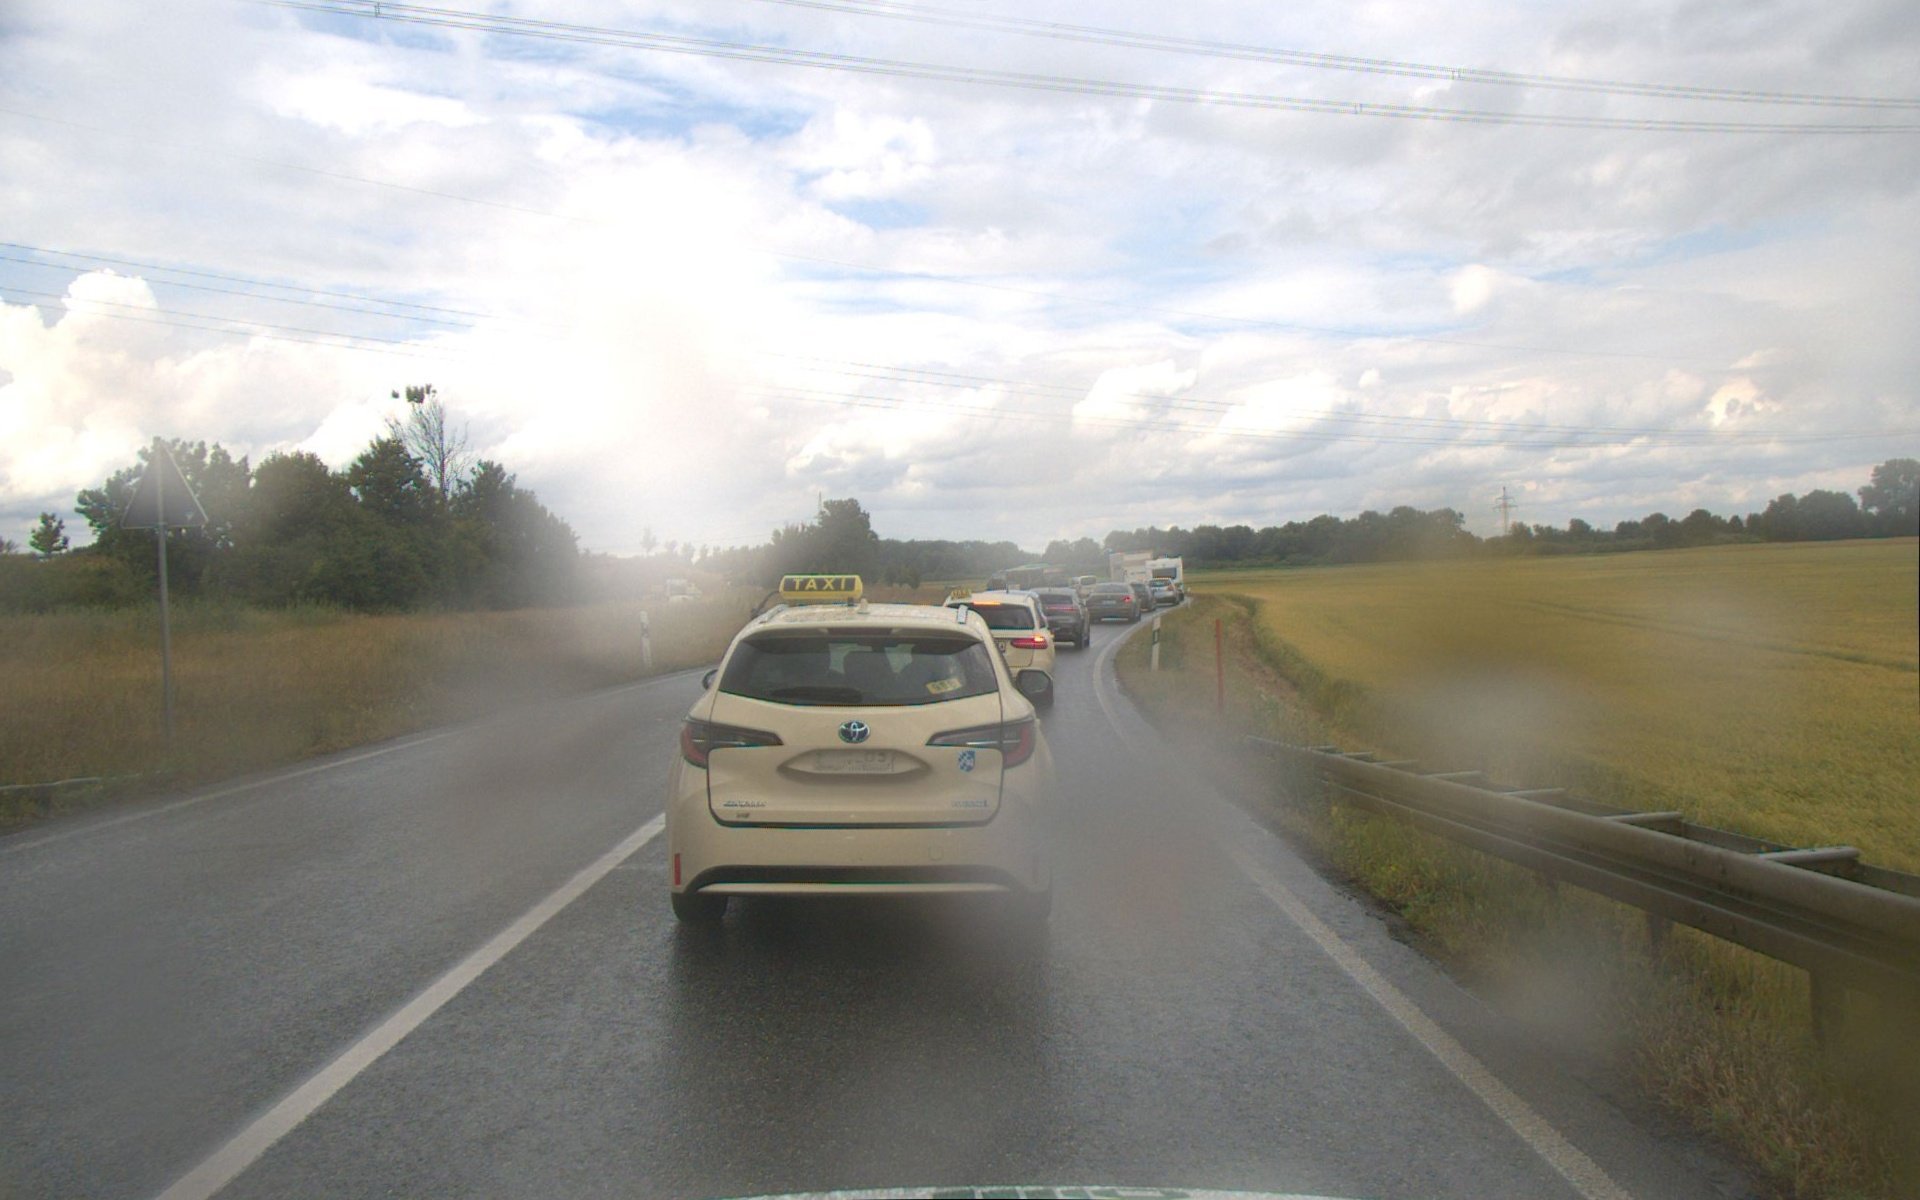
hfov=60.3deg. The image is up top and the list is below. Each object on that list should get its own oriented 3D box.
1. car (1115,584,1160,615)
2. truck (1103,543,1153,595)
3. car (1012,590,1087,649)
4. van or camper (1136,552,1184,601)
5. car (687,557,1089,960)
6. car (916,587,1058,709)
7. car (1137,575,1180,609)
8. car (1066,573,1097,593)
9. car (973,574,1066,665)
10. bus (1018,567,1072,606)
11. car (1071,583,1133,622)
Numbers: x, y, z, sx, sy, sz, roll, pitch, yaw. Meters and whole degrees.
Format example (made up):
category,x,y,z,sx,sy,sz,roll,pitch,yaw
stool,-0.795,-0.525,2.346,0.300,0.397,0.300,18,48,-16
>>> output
category,x,y,z,sx,sy,sz,roll,pitch,yaw
car,8.475,-0.006,78.712,1.786,1.438,3.741,0,-1,12
truck,13.406,-2.397,132.392,3.063,3.920,7.384,1,-1,-1
car,2.334,0.499,42.371,1.578,1.438,3.741,1,-1,8
van or camper,12.617,-1.483,104.794,2.484,2.946,6.745,0,1,2
car,-0.377,0.648,8.444,1.581,1.589,3.736,1,-1,-3
car,0.481,0.595,23.405,1.802,1.518,4.610,0,1,3
car,10.747,-0.405,89.432,1.918,1.759,3.741,0,-1,13
car,11.092,-1.545,151.289,1.850,1.804,4.148,1,-1,-12
car,1.239,0.389,32.890,1.578,1.688,3.741,1,-1,6
bus,7.648,-1.224,150.319,2.706,3.355,12.482,0,1,-7
car,5.537,0.129,63.994,1.918,1.438,4.396,0,-1,11
